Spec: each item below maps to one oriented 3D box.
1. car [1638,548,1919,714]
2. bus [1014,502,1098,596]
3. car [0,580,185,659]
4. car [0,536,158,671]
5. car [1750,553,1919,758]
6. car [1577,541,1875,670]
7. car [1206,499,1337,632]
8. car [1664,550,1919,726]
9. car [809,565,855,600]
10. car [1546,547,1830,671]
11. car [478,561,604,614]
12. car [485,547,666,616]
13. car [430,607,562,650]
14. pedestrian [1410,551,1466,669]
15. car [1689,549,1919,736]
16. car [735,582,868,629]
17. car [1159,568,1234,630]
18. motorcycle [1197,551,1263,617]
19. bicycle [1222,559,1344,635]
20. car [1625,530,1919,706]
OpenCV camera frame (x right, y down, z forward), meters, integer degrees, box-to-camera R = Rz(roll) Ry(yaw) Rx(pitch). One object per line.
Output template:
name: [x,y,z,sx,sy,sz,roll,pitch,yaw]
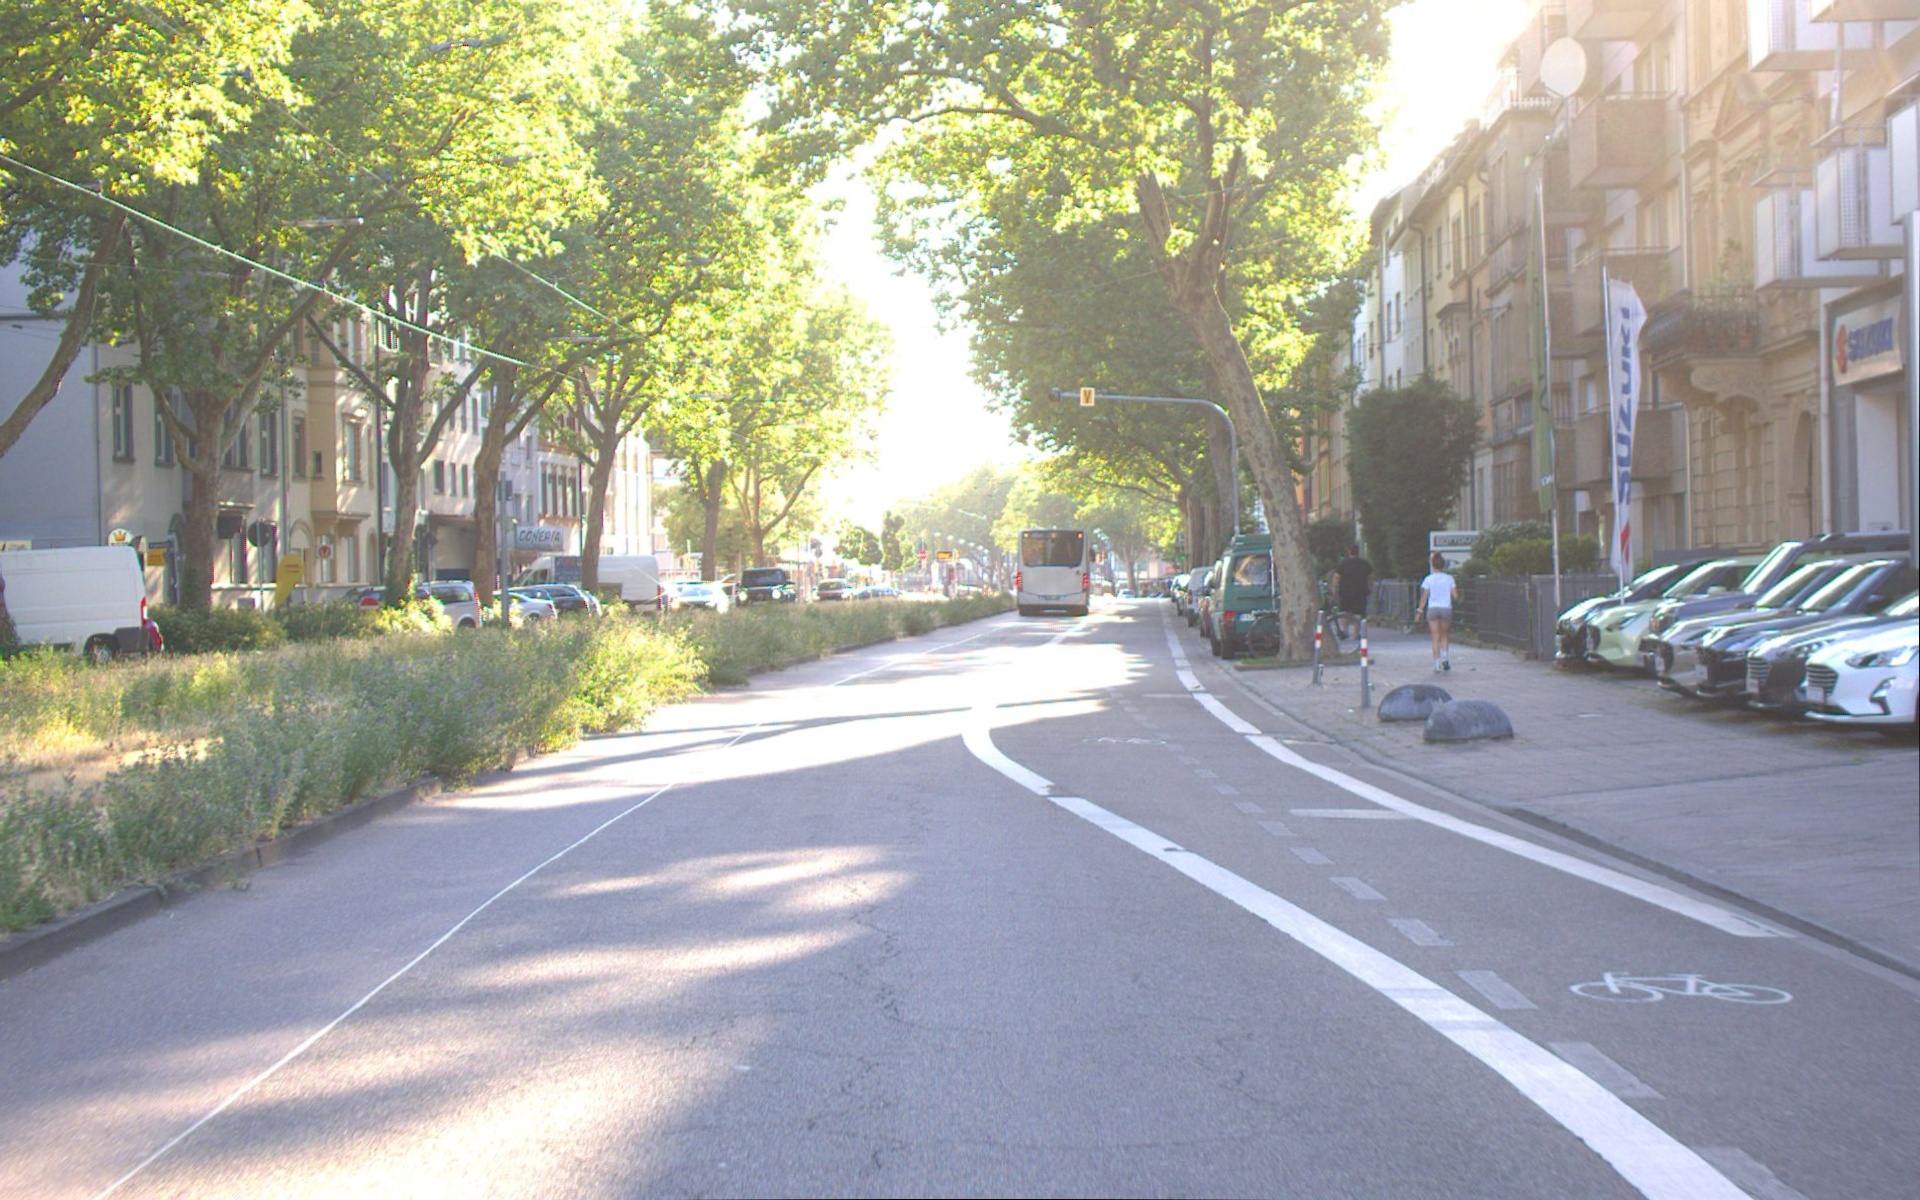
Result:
car: [8.778,0.278,33.897,3.819,1.535,1.859,-1,1,1]
bus: [3.414,-1.785,124.185,2.833,3.224,8.182,-1,0,0]
car: [-18.416,0.392,72.379,3.697,1.461,1.736,-3,1,-29]
car: [-18.583,0.076,66.629,5.492,2.520,2.125,-2,1,-39]
car: [8.367,0.383,27.044,3.810,1.496,1.914,-1,2,-2]
car: [9.605,0.070,43.310,3.418,1.513,1.757,-1,0,5]
car: [5.557,-0.596,61.865,1.993,2.249,5.235,-1,0,2]
car: [8.391,0.318,31.626,3.418,1.520,1.741,-1,1,-1]
car: [-6.087,-0.843,163.893,1.790,1.568,4.000,-1,1,3]
car: [9.574,0.123,45.385,3.418,1.541,1.442,-1,0,1]
car: [-15.016,-0.447,123.277,3.987,1.693,1.856,-3,1,-28]
car: [-15.563,-0.752,139.074,6.935,2.669,2.186,-1,0,-17]
car: [-15.379,0.936,113.985,3.986,1.351,1.586,-1,0,-28]
pedestrian: [6.685,0.143,48.108,0.663,1.623,0.923,-1,0,3]
car: [8.412,0.324,29.622,3.868,1.508,1.809,-1,1,1]
car: [-5.986,0.217,130.188,4.762,1.688,1.875,-1,0,7]
car: [7.064,-0.037,102.444,1.745,1.764,4.392,-1,0,10]
motorcycle: [5.936,-0.361,75.773,0.823,1.393,2.380,-3,1,-9]
bicycle: [4.993,-0.047,53.209,1.845,1.139,0.348,-1,0,3]
car: [8.871,0.164,35.934,3.581,1.714,1.682,-1,2,5]
